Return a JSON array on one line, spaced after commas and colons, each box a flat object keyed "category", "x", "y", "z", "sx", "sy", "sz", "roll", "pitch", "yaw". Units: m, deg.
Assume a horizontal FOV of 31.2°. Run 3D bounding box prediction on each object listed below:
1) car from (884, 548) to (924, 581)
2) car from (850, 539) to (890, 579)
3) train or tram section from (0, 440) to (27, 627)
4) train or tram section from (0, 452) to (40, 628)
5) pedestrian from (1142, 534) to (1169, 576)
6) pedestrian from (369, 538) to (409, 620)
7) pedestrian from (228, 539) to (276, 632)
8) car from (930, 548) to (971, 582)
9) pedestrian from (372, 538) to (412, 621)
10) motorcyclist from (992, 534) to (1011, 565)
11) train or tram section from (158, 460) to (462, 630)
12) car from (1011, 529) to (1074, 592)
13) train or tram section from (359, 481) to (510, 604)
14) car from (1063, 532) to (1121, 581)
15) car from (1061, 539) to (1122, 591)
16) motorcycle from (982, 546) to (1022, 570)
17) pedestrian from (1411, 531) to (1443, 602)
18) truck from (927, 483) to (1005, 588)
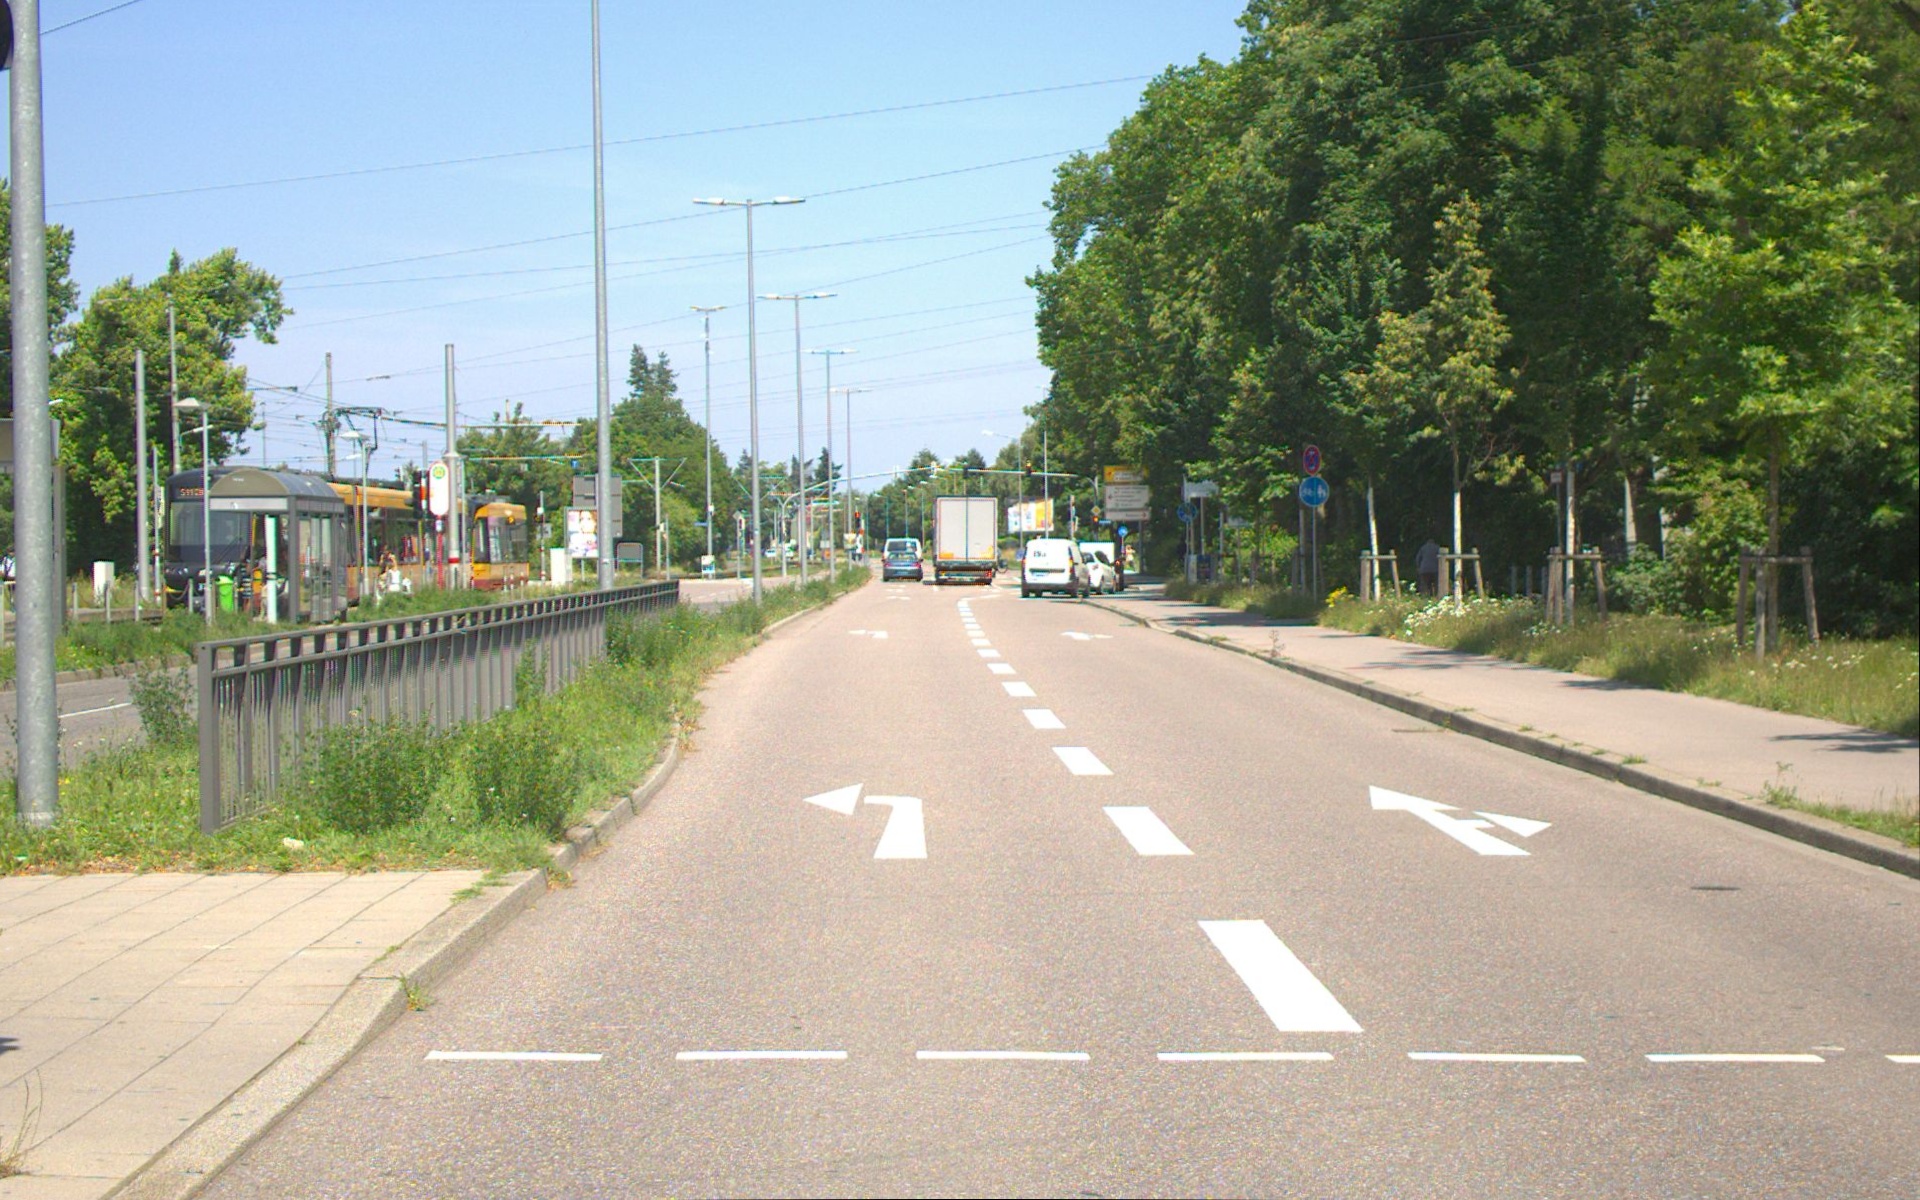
[{"category": "car", "x": -2.568, "y": -1.655, "z": 157.887, "sx": 1.811, "sy": 1.459, "sz": 4.000, "roll": 0, "pitch": 1, "yaw": -1}, {"category": "car", "x": -4.565, "y": -2.079, "z": 175.168, "sx": 1.993, "sy": 2.007, "sz": 4.000, "roll": 0, "pitch": 1, "yaw": -1}, {"category": "train or tram section", "x": -21.047, "y": -1.318, "z": 67.937, "sx": 3.214, "sy": 3.918, "sz": 18.506, "roll": -1, "pitch": 1, "yaw": -10}, {"category": "train or tram section", "x": -27.376, "y": -1.417, "z": 83.780, "sx": 3.216, "sy": 3.918, "sz": 18.497, "roll": -1, "pitch": 1, "yaw": -36}, {"category": "pedestrian", "x": 9.304, "y": -2.133, "z": 163.388, "sx": 1.185, "sy": 2.007, "sz": 1.214, "roll": 0, "pitch": 1, "yaw": 0}, {"category": "pedestrian", "x": -14.101, "y": -0.526, "z": 84.950, "sx": 0.815, "sy": 2.007, "sz": 0.938, "roll": 0, "pitch": 1, "yaw": -1}, {"category": "pedestrian", "x": -14.263, "y": -0.303, "z": 69.304, "sx": 0.785, "sy": 1.862, "sz": 0.817, "roll": 0, "pitch": 1, "yaw": -1}, {"category": "car", "x": -0.444, "y": -1.560, "z": 153.620, "sx": 1.811, "sy": 1.459, "sz": 4.000, "roll": 0, "pitch": 1, "yaw": -1}, {"category": "pedestrian", "x": -13.823, "y": -0.509, "z": 83.656, "sx": 0.815, "sy": 2.007, "sz": 0.938, "roll": 0, "pitch": 1, "yaw": -1}, {"category": "motorcyclist", "x": 2.428, "y": -2.965, "z": 202.204, "sx": 0.924, "sy": 1.829, "sz": 0.850, "roll": -1, "pitch": 1, "yaw": -12}, {"category": "train or tram section", "x": -16.561, "y": -1.481, "z": 91.070, "sx": 2.957, "sy": 3.736, "sz": 30.035, "roll": 0, "pitch": 1, "yaw": -1}, {"category": "car", "x": 2.501, "y": -1.224, "z": 105.518, "sx": 1.779, "sy": 1.897, "sz": 4.000, "roll": 0, "pitch": 1, "yaw": -1}, {"category": "train or tram section", "x": -18.329, "y": -2.059, "z": 122.381, "sx": 2.930, "sy": 3.776, "sz": 33.093, "roll": 0, "pitch": 1, "yaw": -5}, {"category": "car", "x": 4.539, "y": -1.518, "z": 118.791, "sx": 1.779, "sy": 1.663, "sz": 4.000, "roll": 0, "pitch": 1, "yaw": -1}, {"category": "car", "x": 4.289, "y": -1.153, "z": 112.448, "sx": 1.779, "sy": 1.663, "sz": 4.000, "roll": 0, "pitch": 1, "yaw": -1}, {"category": "motorcycle", "x": 2.468, "y": -2.454, "z": 202.203, "sx": 2.182, "sy": 1.402, "sz": 0.848, "roll": -1, "pitch": 1, "yaw": -11}, {"category": "pedestrian", "x": 9.443, "y": -0.681, "z": 69.527, "sx": 0.604, "sy": 1.433, "sz": 0.556, "roll": 0, "pitch": 1, "yaw": 6}, {"category": "truck", "x": 0.202, "y": -2.722, "z": 146.055, "sx": 3.205, "sy": 4.344, "sz": 6.561, "roll": 0, "pitch": 1, "yaw": -1}]
